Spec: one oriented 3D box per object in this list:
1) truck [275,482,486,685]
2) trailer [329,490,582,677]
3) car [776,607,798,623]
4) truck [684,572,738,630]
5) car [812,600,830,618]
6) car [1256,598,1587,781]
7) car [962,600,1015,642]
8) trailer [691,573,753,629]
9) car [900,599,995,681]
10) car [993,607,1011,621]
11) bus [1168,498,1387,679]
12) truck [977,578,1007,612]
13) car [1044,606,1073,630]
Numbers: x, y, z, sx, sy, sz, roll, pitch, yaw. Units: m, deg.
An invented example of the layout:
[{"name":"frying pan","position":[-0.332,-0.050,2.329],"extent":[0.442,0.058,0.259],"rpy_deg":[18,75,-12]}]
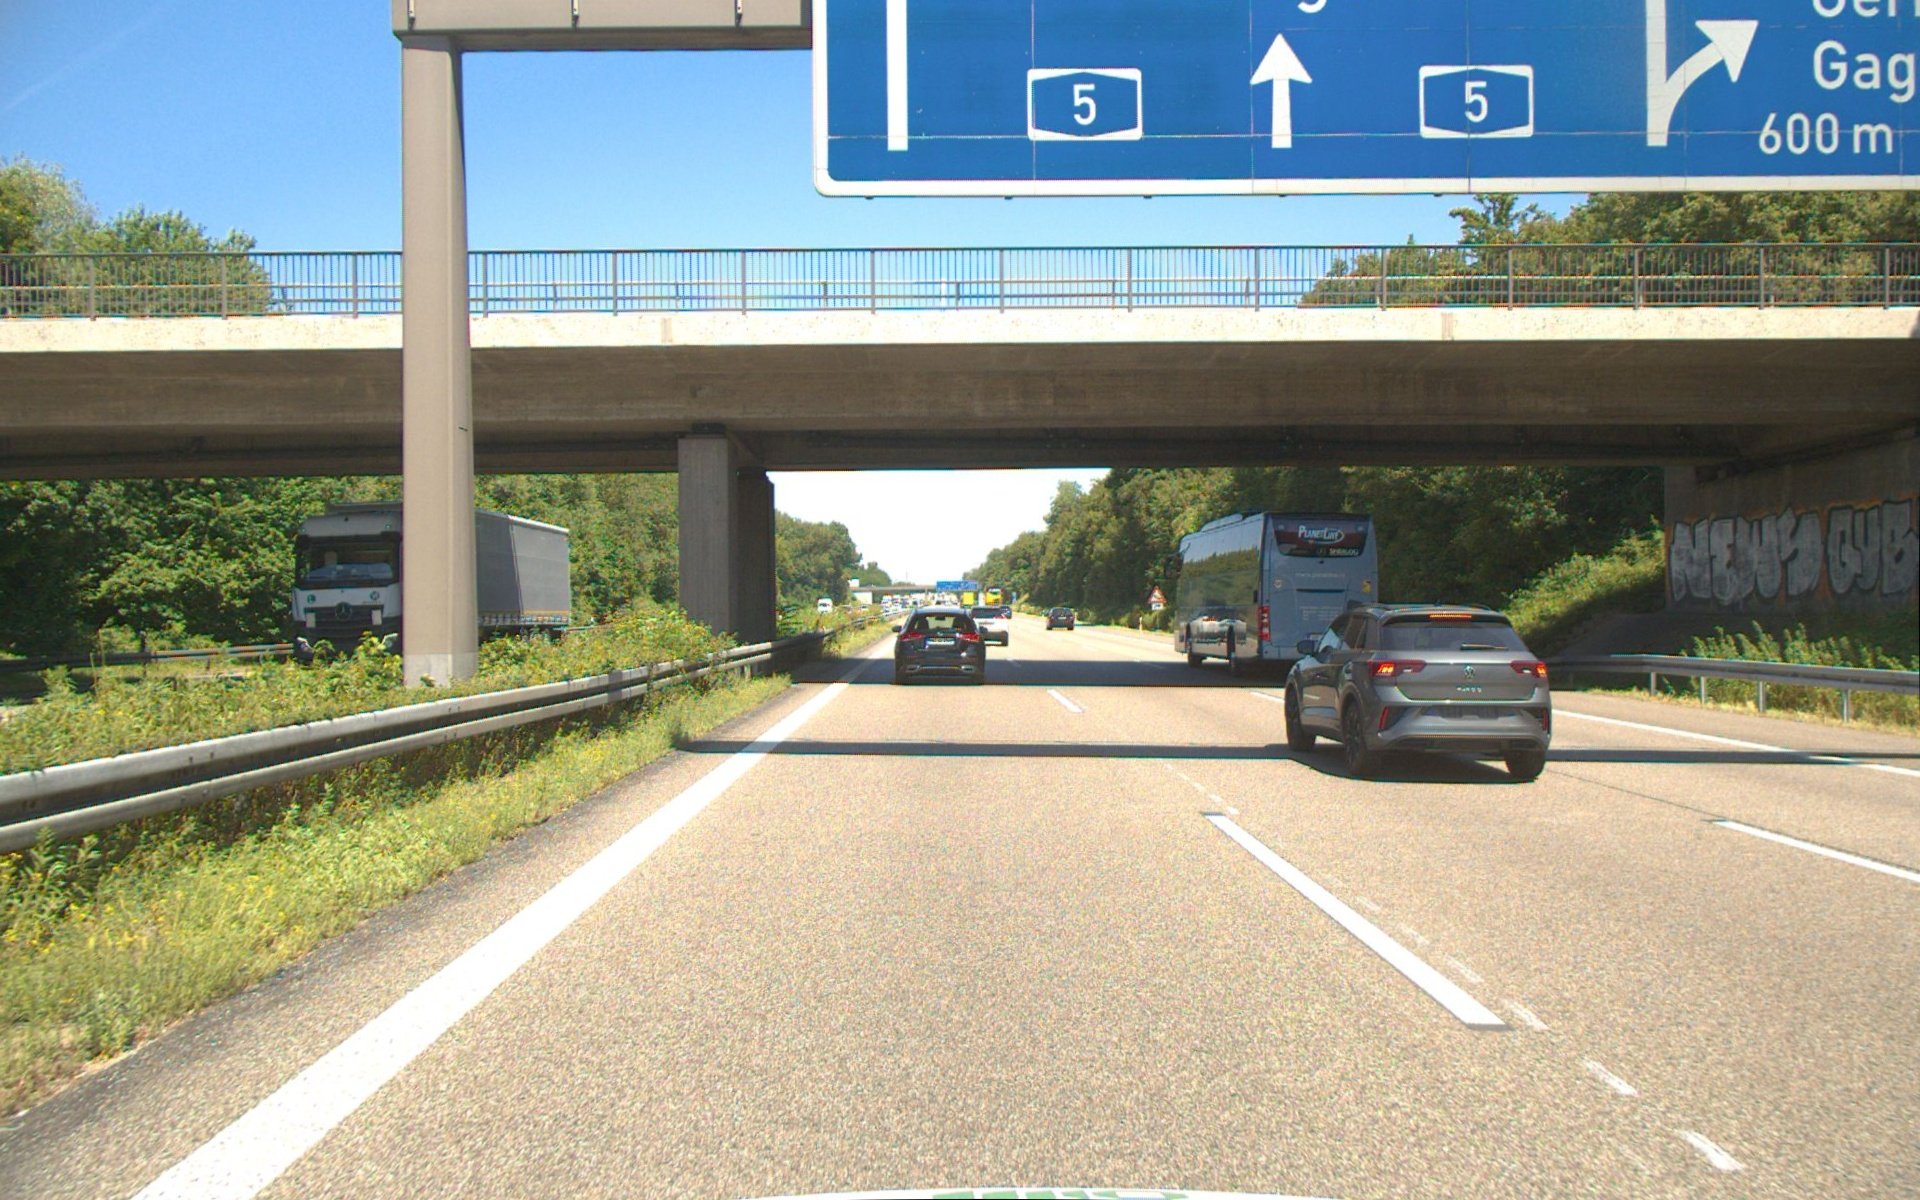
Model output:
[{"name":"truck","position":[-13.376,-0.365,38.720],"extent":[2.771,4.285,5.888],"rpy_deg":[-2,0,-1]},{"name":"trailer","position":[-13.458,-0.388,45.864],"extent":[2.771,4.298,13.833],"rpy_deg":[-2,0,-1]},{"name":"car","position":[-17.774,1.528,169.990],"extent":[1.811,1.475,4.870],"rpy_deg":[-2,0,-2]},{"name":"truck","position":[-18.219,0.084,121.252],"extent":[3.152,4.130,5.617],"rpy_deg":[-1,0,-1]},{"name":"car","position":[-20.263,1.288,241.779],"extent":[2.044,2.597,6.226],"rpy_deg":[-2,0,-1]},{"name":"car","position":[4.389,0.767,16.561],"extent":[1.861,1.559,4.758],"rpy_deg":[0,0,-2]},{"name":"car","position":[1.080,0.797,64.940],"extent":[1.861,1.559,4.240],"rpy_deg":[0,0,-2]},{"name":"trailer","position":[-18.352,0.110,128.446],"extent":[3.152,4.130,12.738],"rpy_deg":[-1,0,-1]},{"name":"car","position":[-0.293,0.745,32.916],"extent":[1.763,1.528,4.240],"rpy_deg":[0,0,-2]},{"name":"car","position":[4.846,1.636,192.593],"extent":[2.038,1.559,4.241],"rpy_deg":[0,0,0]},{"name":"bus","position":[7.228,-0.217,39.787],"extent":[2.745,3.659,12.472],"rpy_deg":[0,0,-1]},{"name":"truck","position":[4.663,-0.656,242.291],"extent":[3.574,4.670,15.760],"rpy_deg":[1,0,-2]},{"name":"car","position":[6.517,1.182,109.700],"extent":[1.753,1.487,3.949],"rpy_deg":[0,0,0]}]
